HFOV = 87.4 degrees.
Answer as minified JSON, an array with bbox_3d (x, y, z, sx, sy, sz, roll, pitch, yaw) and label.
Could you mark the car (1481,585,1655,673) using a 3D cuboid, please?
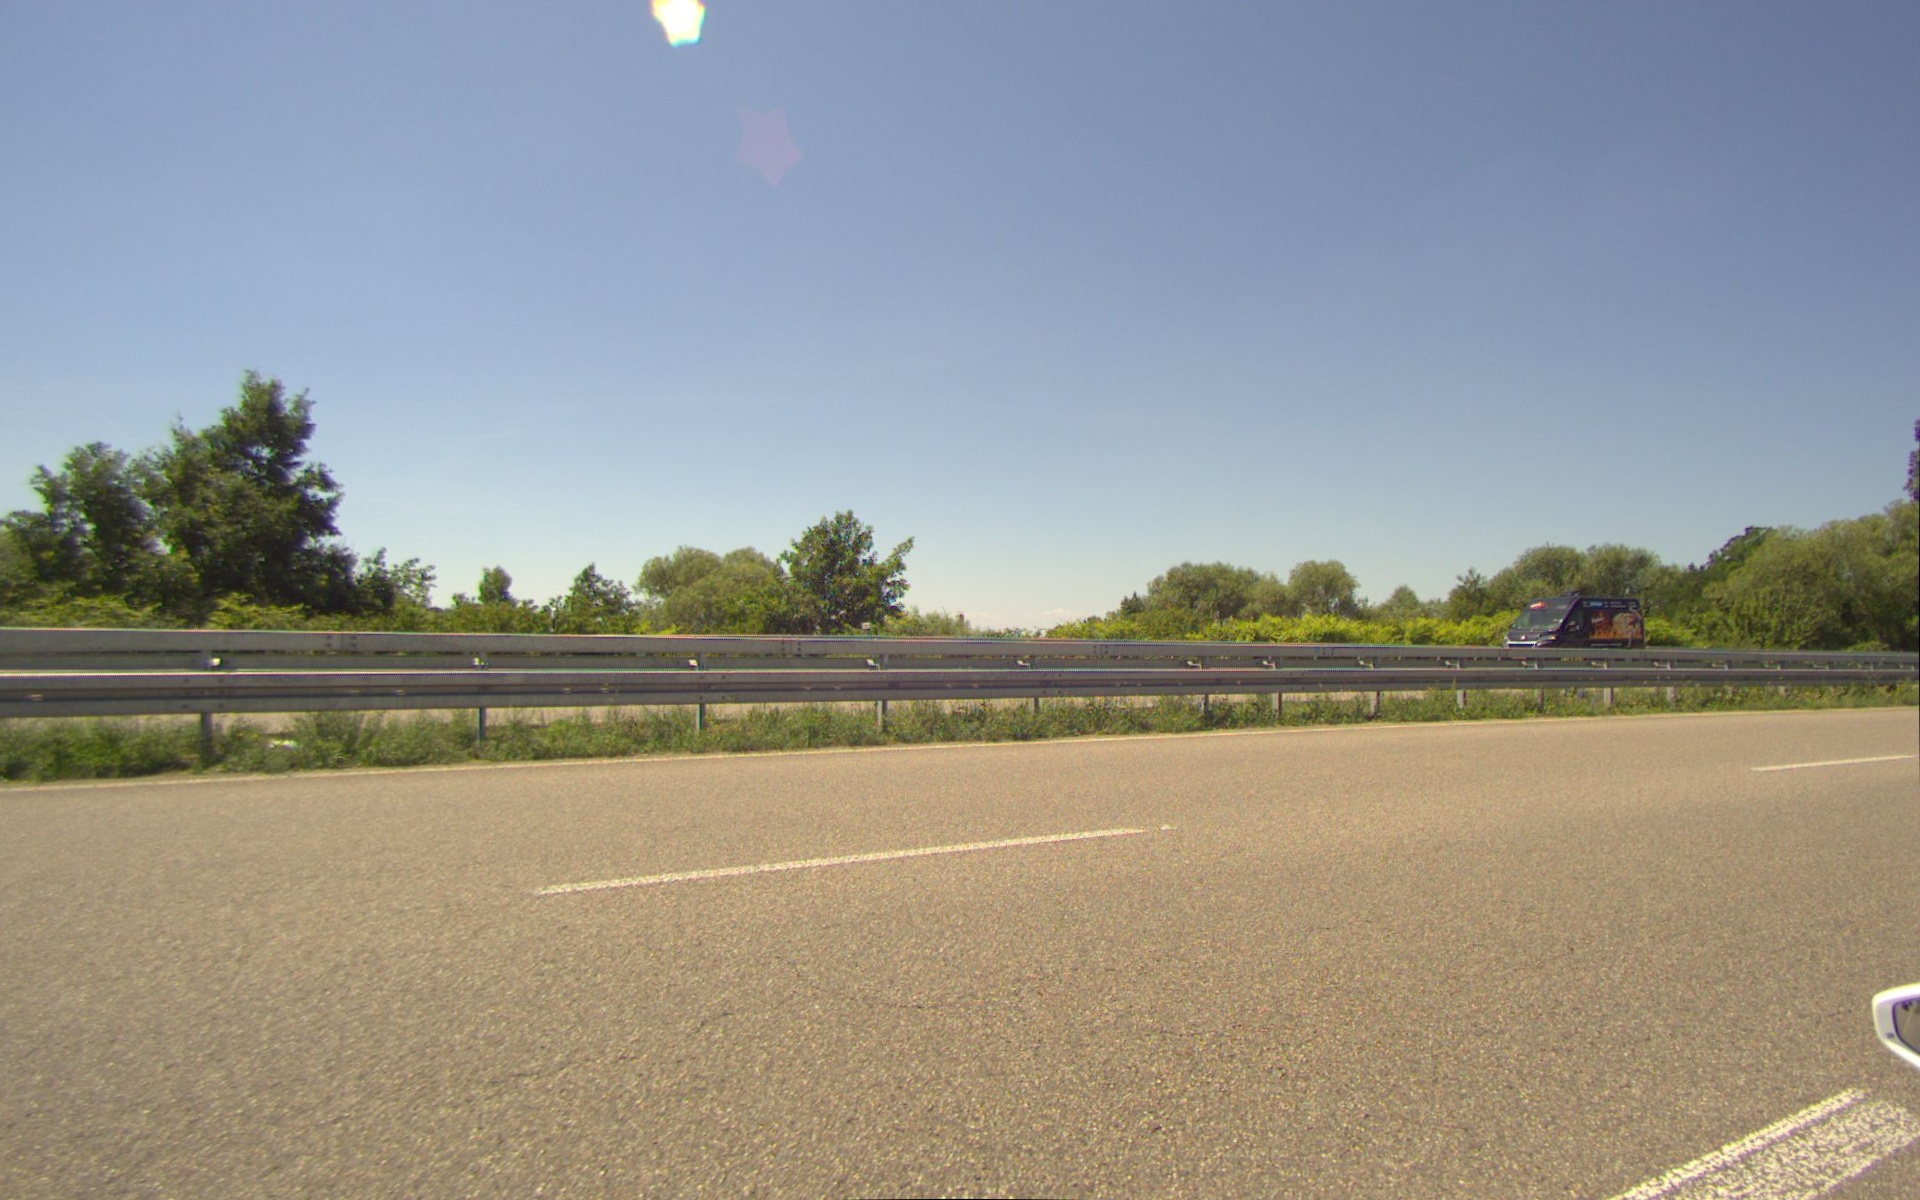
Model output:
[{"bbox_3d":[20.960,1.018,34.636,5.544,2.672,2.200,3,-2,-22],"label":"car"}]
